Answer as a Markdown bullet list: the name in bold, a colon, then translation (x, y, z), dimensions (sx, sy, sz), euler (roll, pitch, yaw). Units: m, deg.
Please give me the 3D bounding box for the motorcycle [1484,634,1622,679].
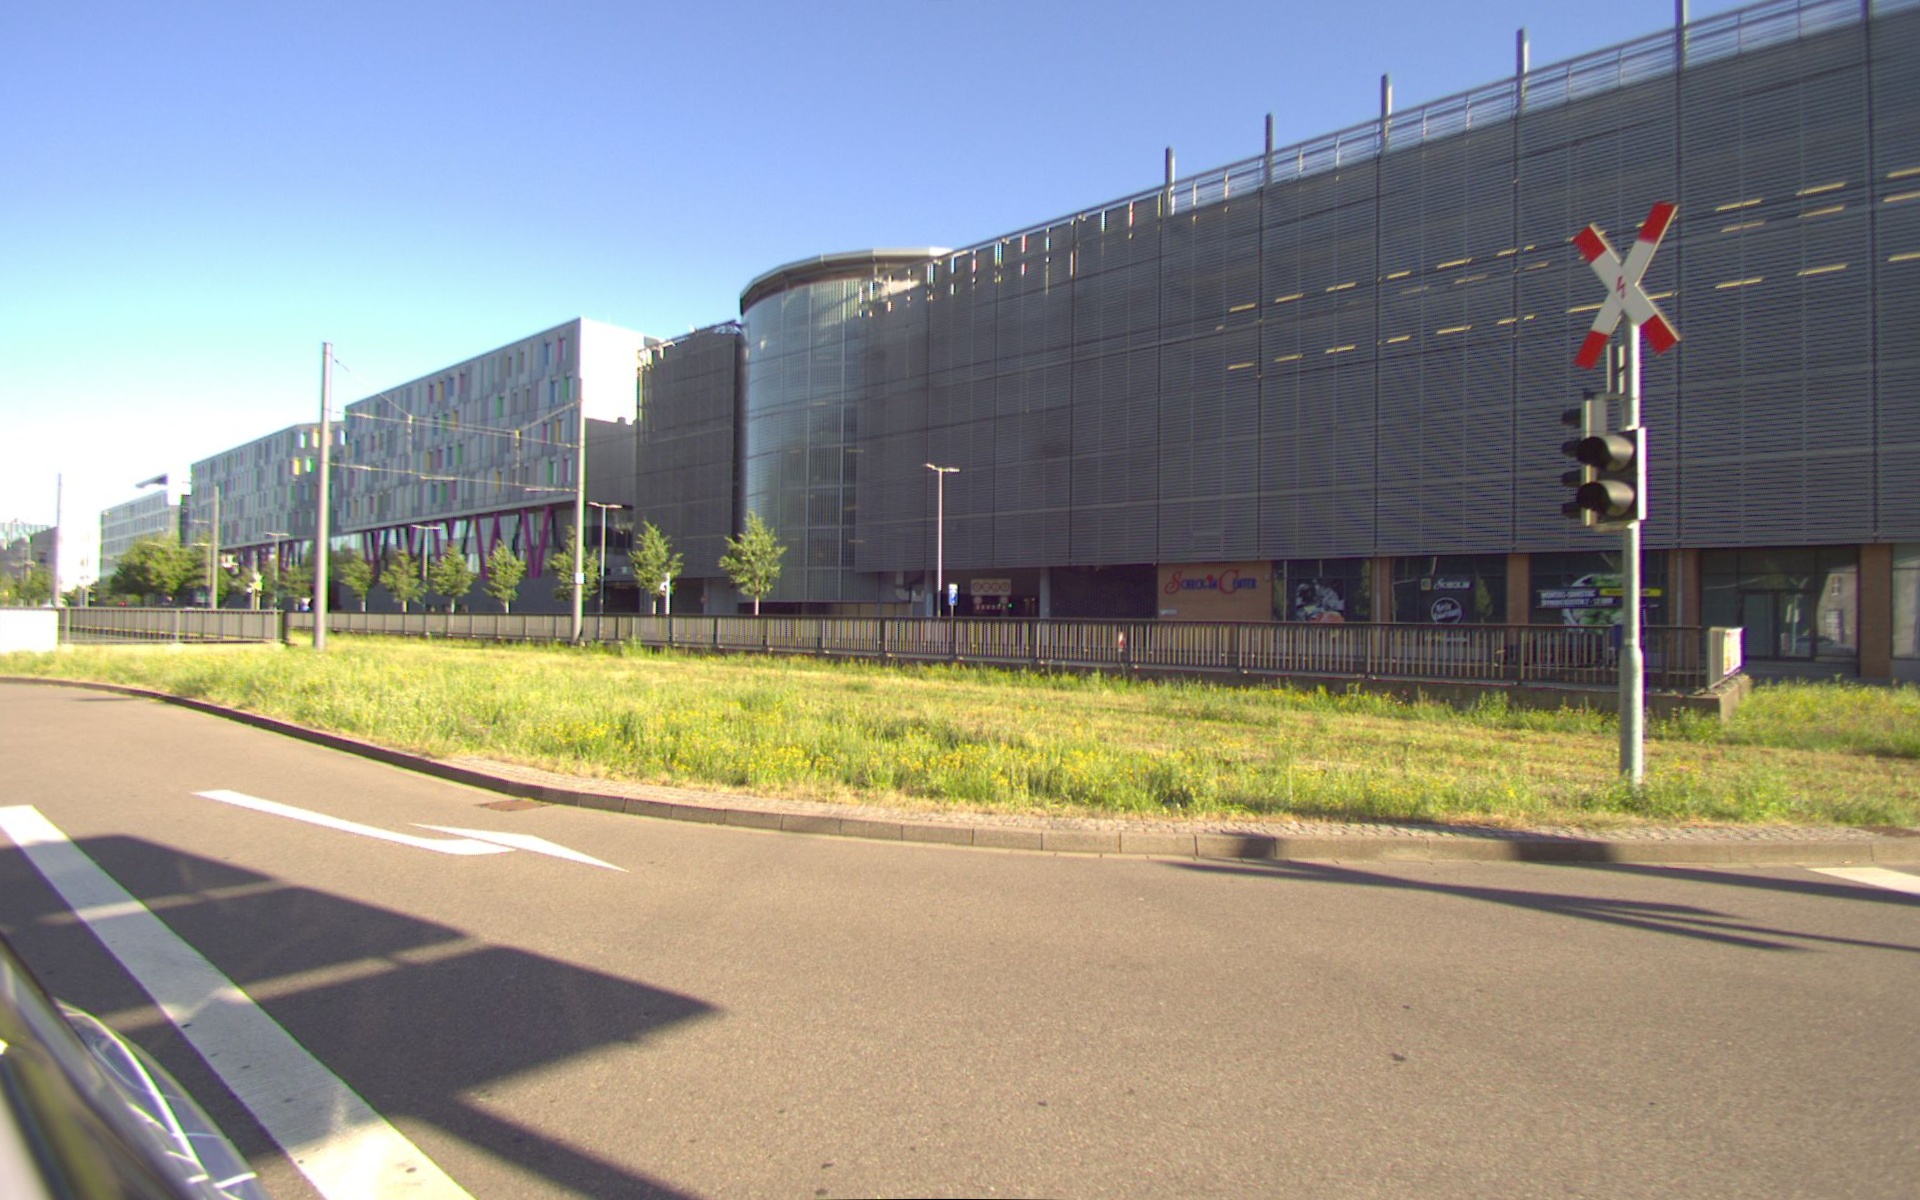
- **motorcycle**: translation (21.334, 1.998, 36.485), dimensions (3.998, 1.464, 1.973), euler (-1, -2, 41)
